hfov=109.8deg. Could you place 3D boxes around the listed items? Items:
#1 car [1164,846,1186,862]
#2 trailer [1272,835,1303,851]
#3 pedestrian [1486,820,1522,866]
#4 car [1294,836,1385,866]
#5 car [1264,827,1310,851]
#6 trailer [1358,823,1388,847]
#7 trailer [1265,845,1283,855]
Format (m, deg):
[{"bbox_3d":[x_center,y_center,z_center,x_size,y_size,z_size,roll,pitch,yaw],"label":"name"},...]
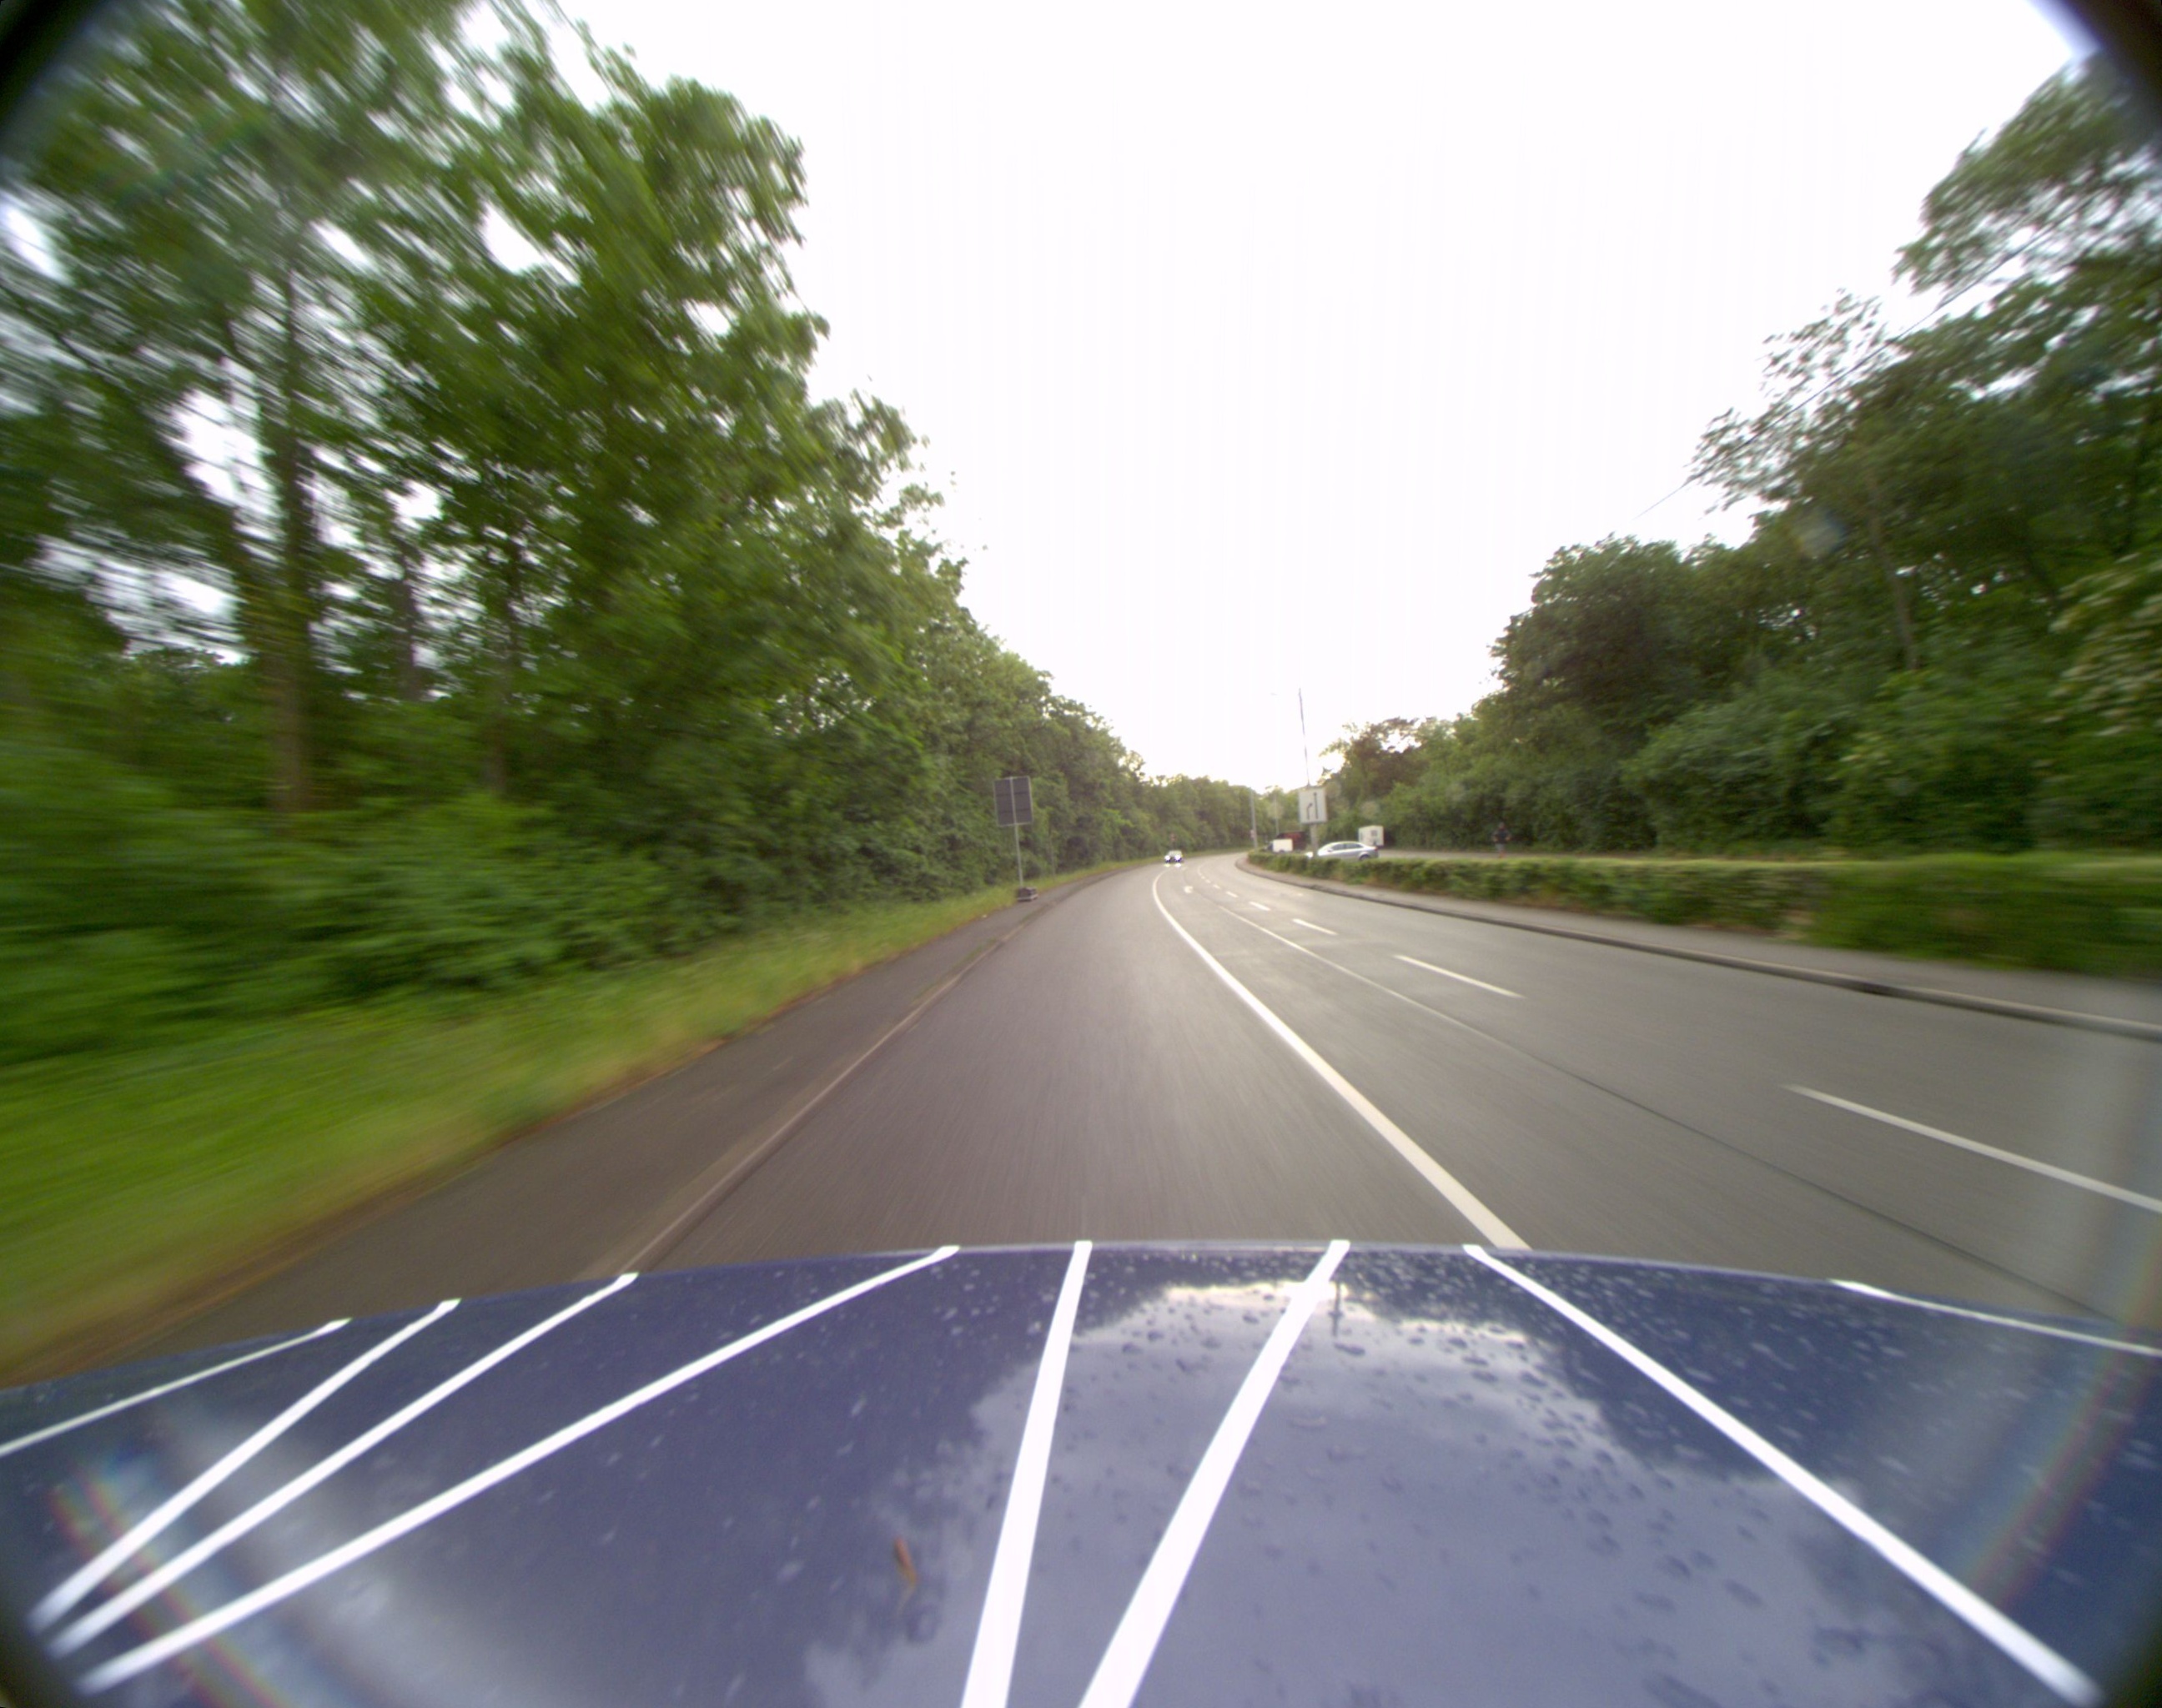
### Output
[{"bbox_3d":[10.978,-0.023,88.517,1.996,1.674,4.003,-2,1,14],"label":"car"},{"bbox_3d":[28.583,-1.510,105.101,3.992,2.041,1.875,-2,1,16],"label":"trailer"},{"bbox_3d":[17.304,-0.444,31.083,0.819,1.787,1.135,-3,1,3],"label":"pedestrian"},{"bbox_3d":[15.049,-0.181,44.481,4.586,1.497,2.000,-3,1,1],"label":"car"},{"bbox_3d":[29.856,-2.232,110.379,6.282,3.096,2.754,-3,2,13],"label":"car"},{"bbox_3d":[37.183,-2.447,96.987,2.479,2.857,7.983,-2,1,13],"label":"trailer"},{"bbox_3d":[21.738,-0.498,85.562,1.804,1.028,1.335,-3,1,10],"label":"trailer"}]
